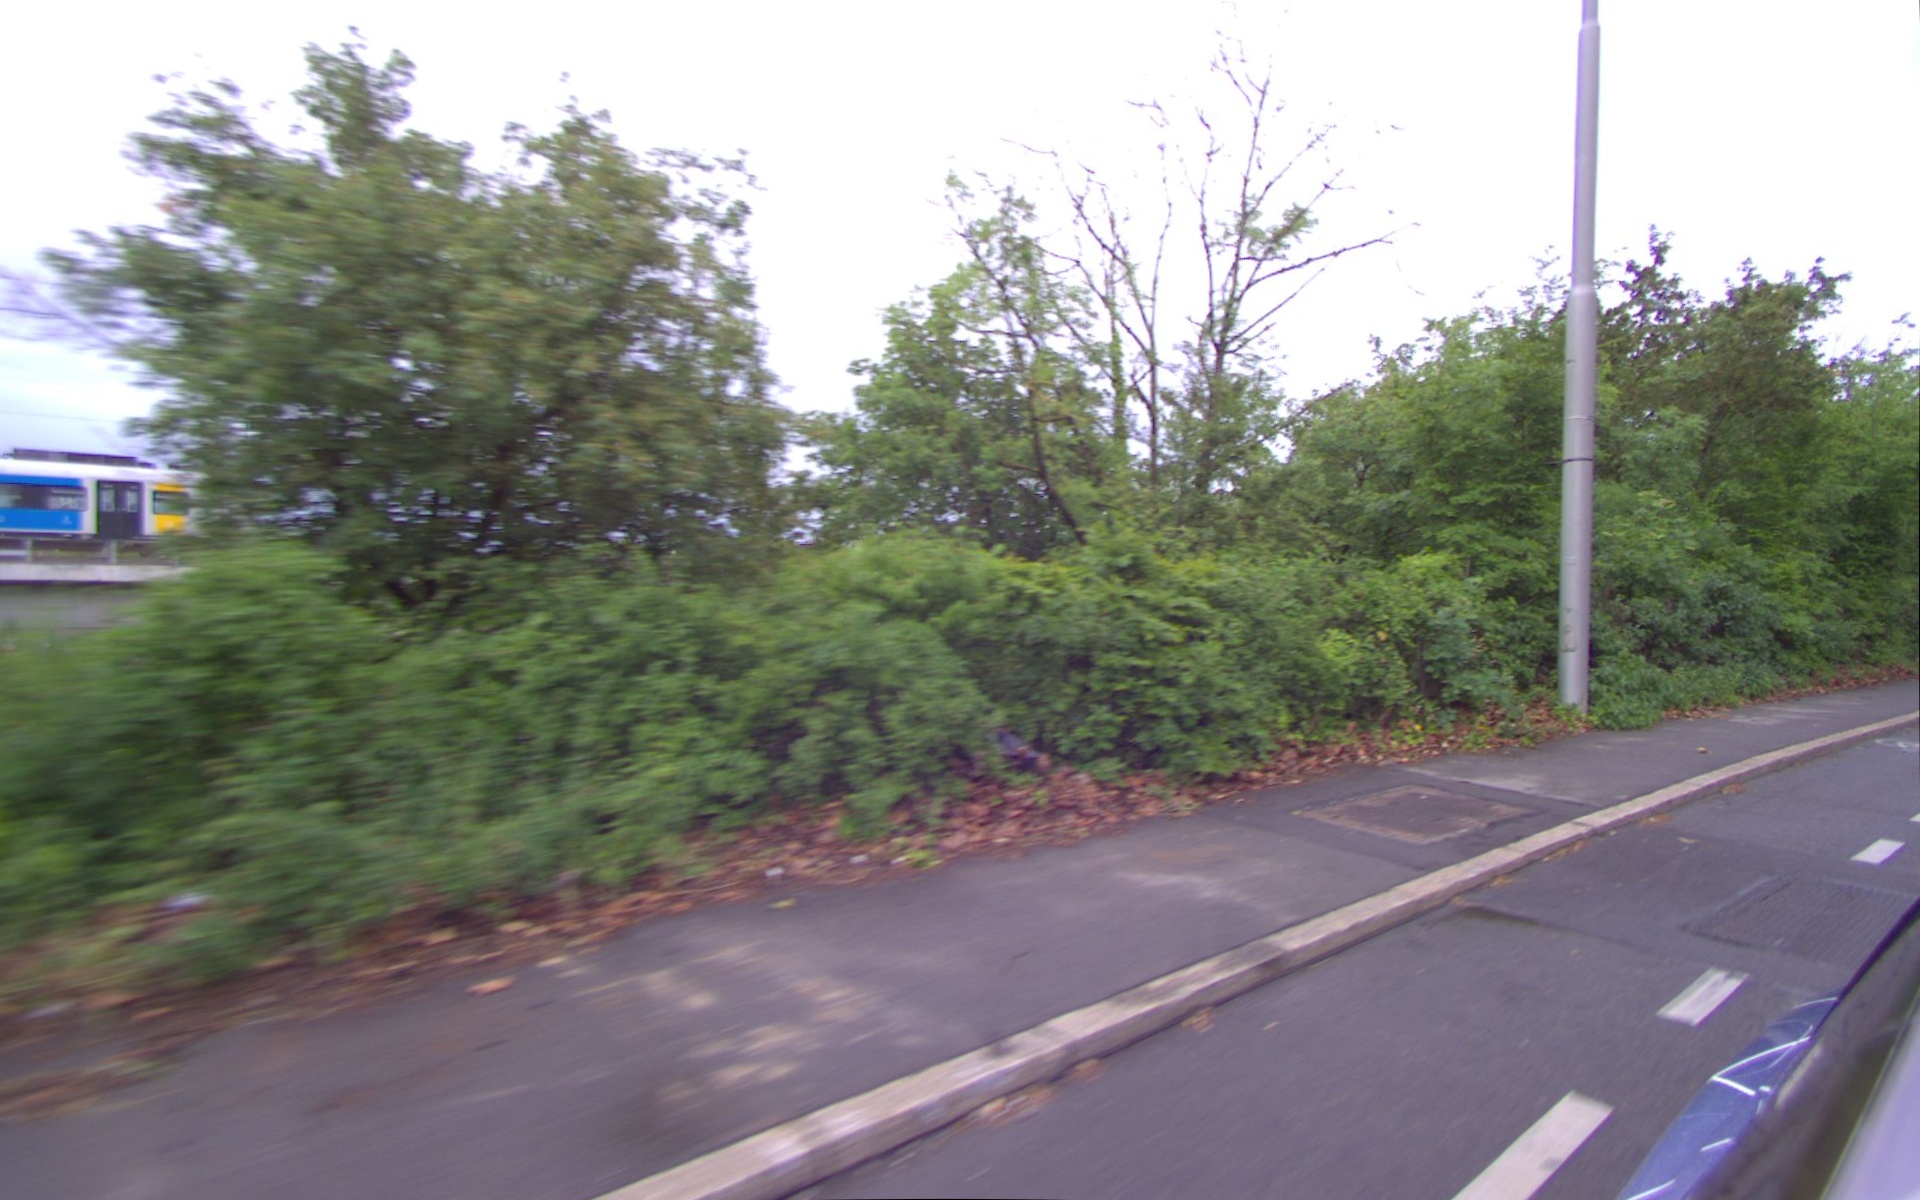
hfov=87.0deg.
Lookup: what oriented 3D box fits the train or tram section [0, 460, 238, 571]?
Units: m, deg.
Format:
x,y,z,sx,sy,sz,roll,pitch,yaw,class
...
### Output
x,y,z,sx,sy,sz,roll,pitch,yaw,class
-39.480,-3.529,39.456,18.161,3.879,3.203,2,-2,-42,train or tram section
